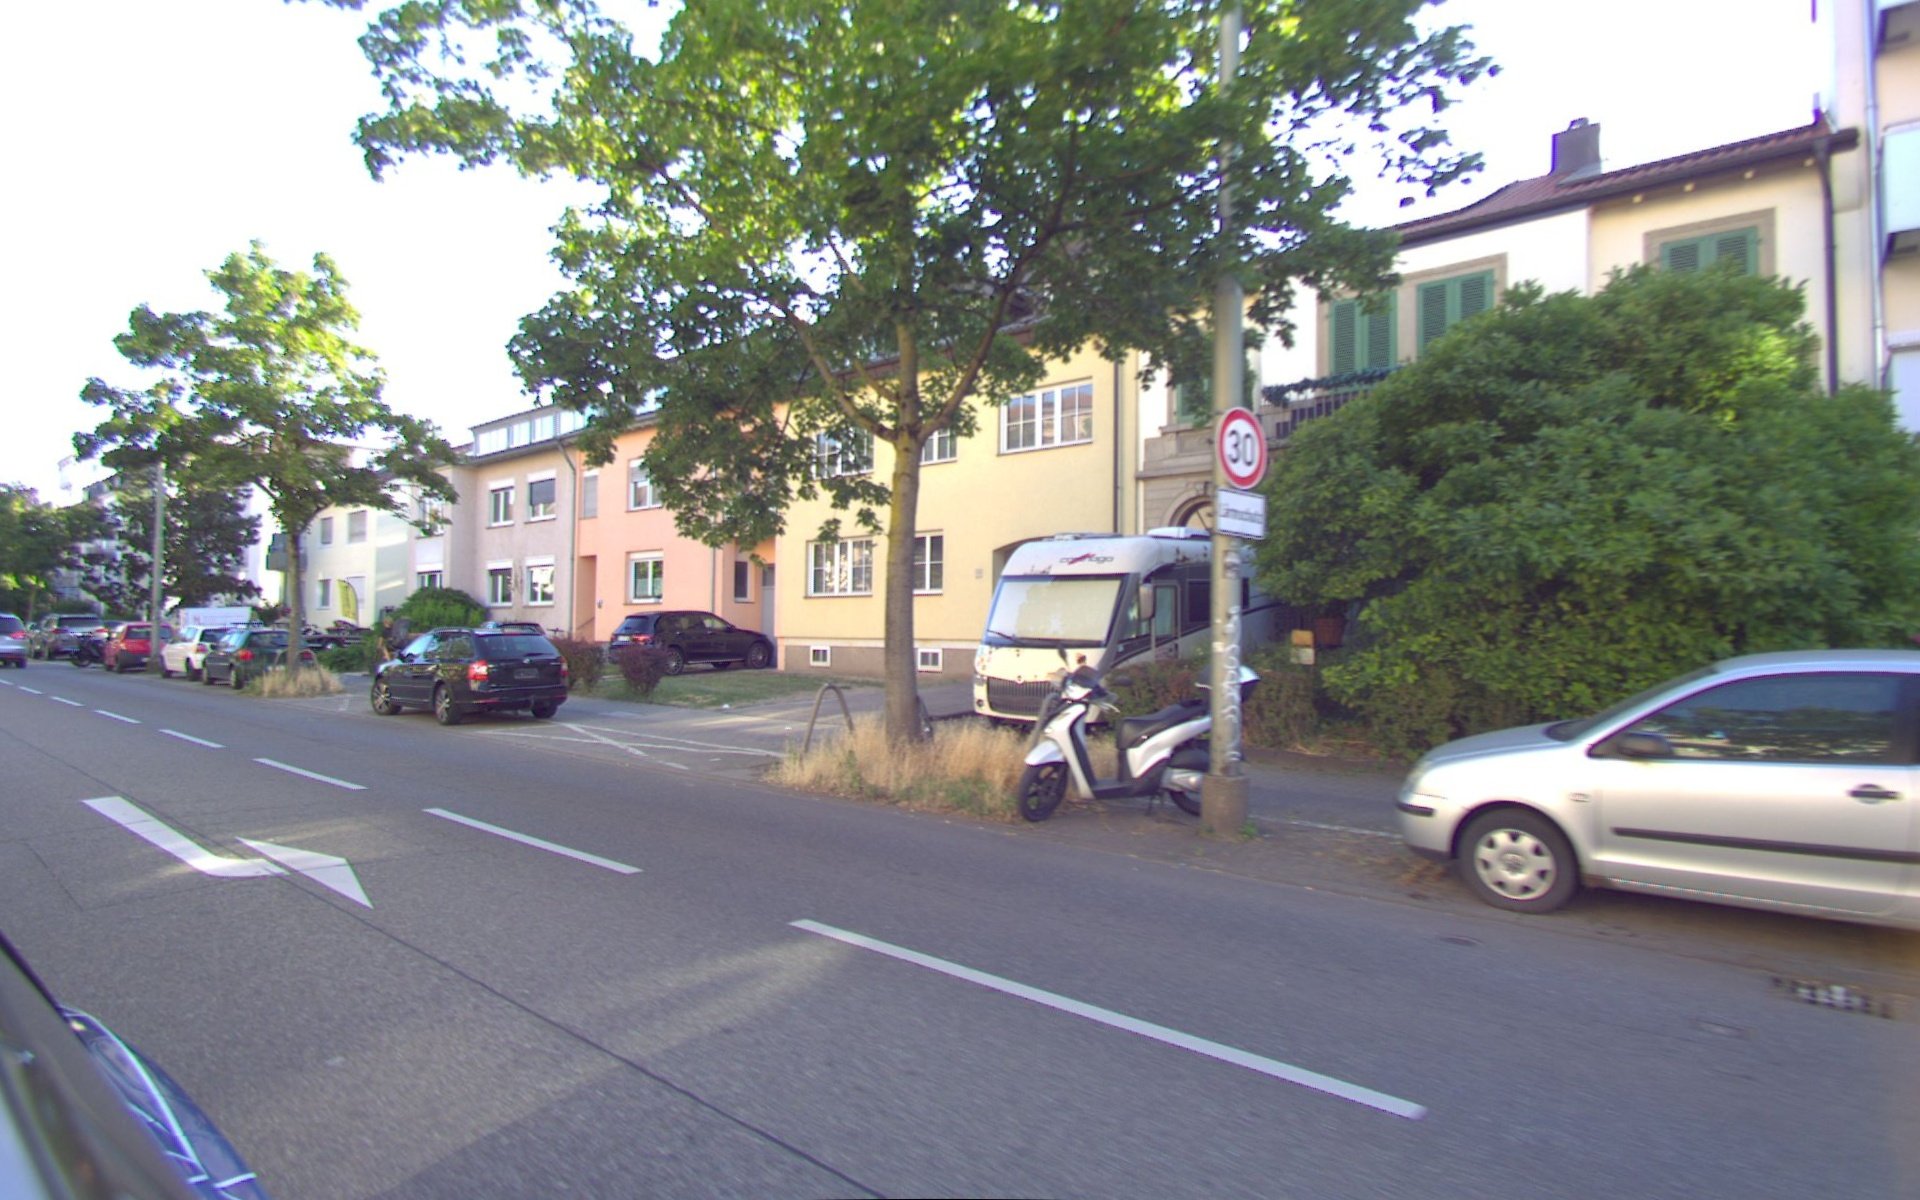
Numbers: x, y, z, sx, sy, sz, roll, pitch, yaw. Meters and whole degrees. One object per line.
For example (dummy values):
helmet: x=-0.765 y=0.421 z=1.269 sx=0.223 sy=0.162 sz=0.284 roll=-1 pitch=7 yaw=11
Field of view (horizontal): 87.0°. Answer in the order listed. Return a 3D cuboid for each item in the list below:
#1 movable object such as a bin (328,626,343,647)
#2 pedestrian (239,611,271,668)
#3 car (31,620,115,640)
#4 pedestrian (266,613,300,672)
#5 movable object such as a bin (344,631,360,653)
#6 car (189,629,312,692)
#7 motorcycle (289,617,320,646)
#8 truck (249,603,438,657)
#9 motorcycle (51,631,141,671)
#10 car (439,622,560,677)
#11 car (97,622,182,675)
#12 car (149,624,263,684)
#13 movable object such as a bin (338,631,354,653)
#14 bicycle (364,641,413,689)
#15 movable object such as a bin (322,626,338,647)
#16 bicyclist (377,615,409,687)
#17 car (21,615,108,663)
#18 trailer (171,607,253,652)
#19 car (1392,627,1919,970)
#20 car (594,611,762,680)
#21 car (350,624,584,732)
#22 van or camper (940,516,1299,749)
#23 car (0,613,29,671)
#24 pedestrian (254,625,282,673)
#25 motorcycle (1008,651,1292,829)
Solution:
movable object such as a bin: x=-29.862 y=1.750 z=48.392 sx=0.449 sy=1.026 sz=0.498 roll=-1 pitch=-3 yaw=40
pedestrian: x=-22.704 y=1.265 z=32.594 sx=0.506 sy=1.806 sz=0.706 roll=-1 pitch=-3 yaw=43
car: x=-67.304 y=2.247 z=76.864 sx=1.734 sy=1.416 sz=4.517 roll=-1 pitch=0 yaw=30
pedestrian: x=-20.749 y=1.297 z=31.022 sx=0.572 sy=1.806 sz=0.706 roll=-1 pitch=-3 yaw=43
movable object such as a bin: x=-28.262 y=1.967 z=47.058 sx=0.449 sy=1.026 sz=0.498 roll=-1 pitch=-3 yaw=40
car: x=-17.111 y=1.406 z=24.359 sx=3.663 sy=1.407 sz=1.527 roll=-1 pitch=-2 yaw=40
motorcycle: x=-31.887 y=1.535 z=49.233 sx=2.257 sy=1.384 sz=0.564 roll=-1 pitch=-4 yaw=40
truck: x=-27.280 y=1.357 z=45.089 sx=2.275 sy=2.202 sz=6.824 roll=-1 pitch=-3 yaw=40
motorcycle: x=-28.758 y=1.692 z=33.691 sx=2.349 sy=1.276 sz=1.176 roll=0 pitch=-2 yaw=17
car: x=-12.736 y=1.333 z=27.909 sx=3.752 sy=1.420 sz=1.647 roll=-1 pitch=-3 yaw=42
car: x=-25.400 y=1.462 z=31.290 sx=3.436 sy=1.535 sz=1.575 roll=-1 pitch=-3 yaw=43
car: x=-20.547 y=1.420 z=27.541 sx=3.887 sy=1.535 sz=1.577 roll=-1 pitch=-2 yaw=39
movable object such as a bin: x=-28.779 y=1.976 z=47.448 sx=0.449 sy=1.026 sz=0.498 roll=-1 pitch=-3 yaw=40
bicycle: x=-13.547 y=1.524 z=23.991 sx=1.533 sy=1.072 sz=0.481 roll=-1 pitch=-2 yaw=40
movable object such as a bin: x=-30.298 y=1.758 z=48.697 sx=0.449 sy=1.026 sz=0.498 roll=-1 pitch=-3 yaw=40
bicyclist: x=-13.457 y=1.198 z=24.013 sx=0.552 sy=1.676 sz=0.464 roll=-1 pitch=-3 yaw=40
car: x=-36.026 y=1.541 z=40.680 sx=4.721 sy=1.793 sz=1.868 roll=-1 pitch=-2 yaw=39
trailer: x=-35.326 y=1.397 z=47.832 sx=1.550 sy=2.029 sz=2.746 roll=-1 pitch=-3 yaw=38
car: x=4.513 y=0.910 z=5.354 sx=3.801 sy=1.481 sz=1.577 roll=-1 pitch=0 yaw=41
car: x=-7.443 y=1.143 z=26.988 sx=1.865 sy=1.648 sz=3.945 roll=-1 pitch=0 yaw=41
car: x=-8.175 y=1.157 z=16.590 sx=4.514 sy=1.506 sz=1.848 roll=-1 pitch=-1 yaw=41
van or camper: x=2.772 y=0.375 z=15.526 sx=2.350 sy=2.793 sz=6.730 roll=-1 pitch=0 yaw=39
car: x=-31.922 y=1.324 z=32.892 sx=4.742 sy=1.818 sz=1.787 roll=-1 pitch=-4 yaw=40
pedestrian: x=-21.759 y=1.530 z=31.841 sx=0.542 sy=1.507 sz=0.583 roll=-1 pitch=-3 yaw=43
motorcycle: x=1.461 y=1.049 z=7.907 sx=2.021 sy=1.274 sz=0.769 roll=1 pitch=-2 yaw=-11
